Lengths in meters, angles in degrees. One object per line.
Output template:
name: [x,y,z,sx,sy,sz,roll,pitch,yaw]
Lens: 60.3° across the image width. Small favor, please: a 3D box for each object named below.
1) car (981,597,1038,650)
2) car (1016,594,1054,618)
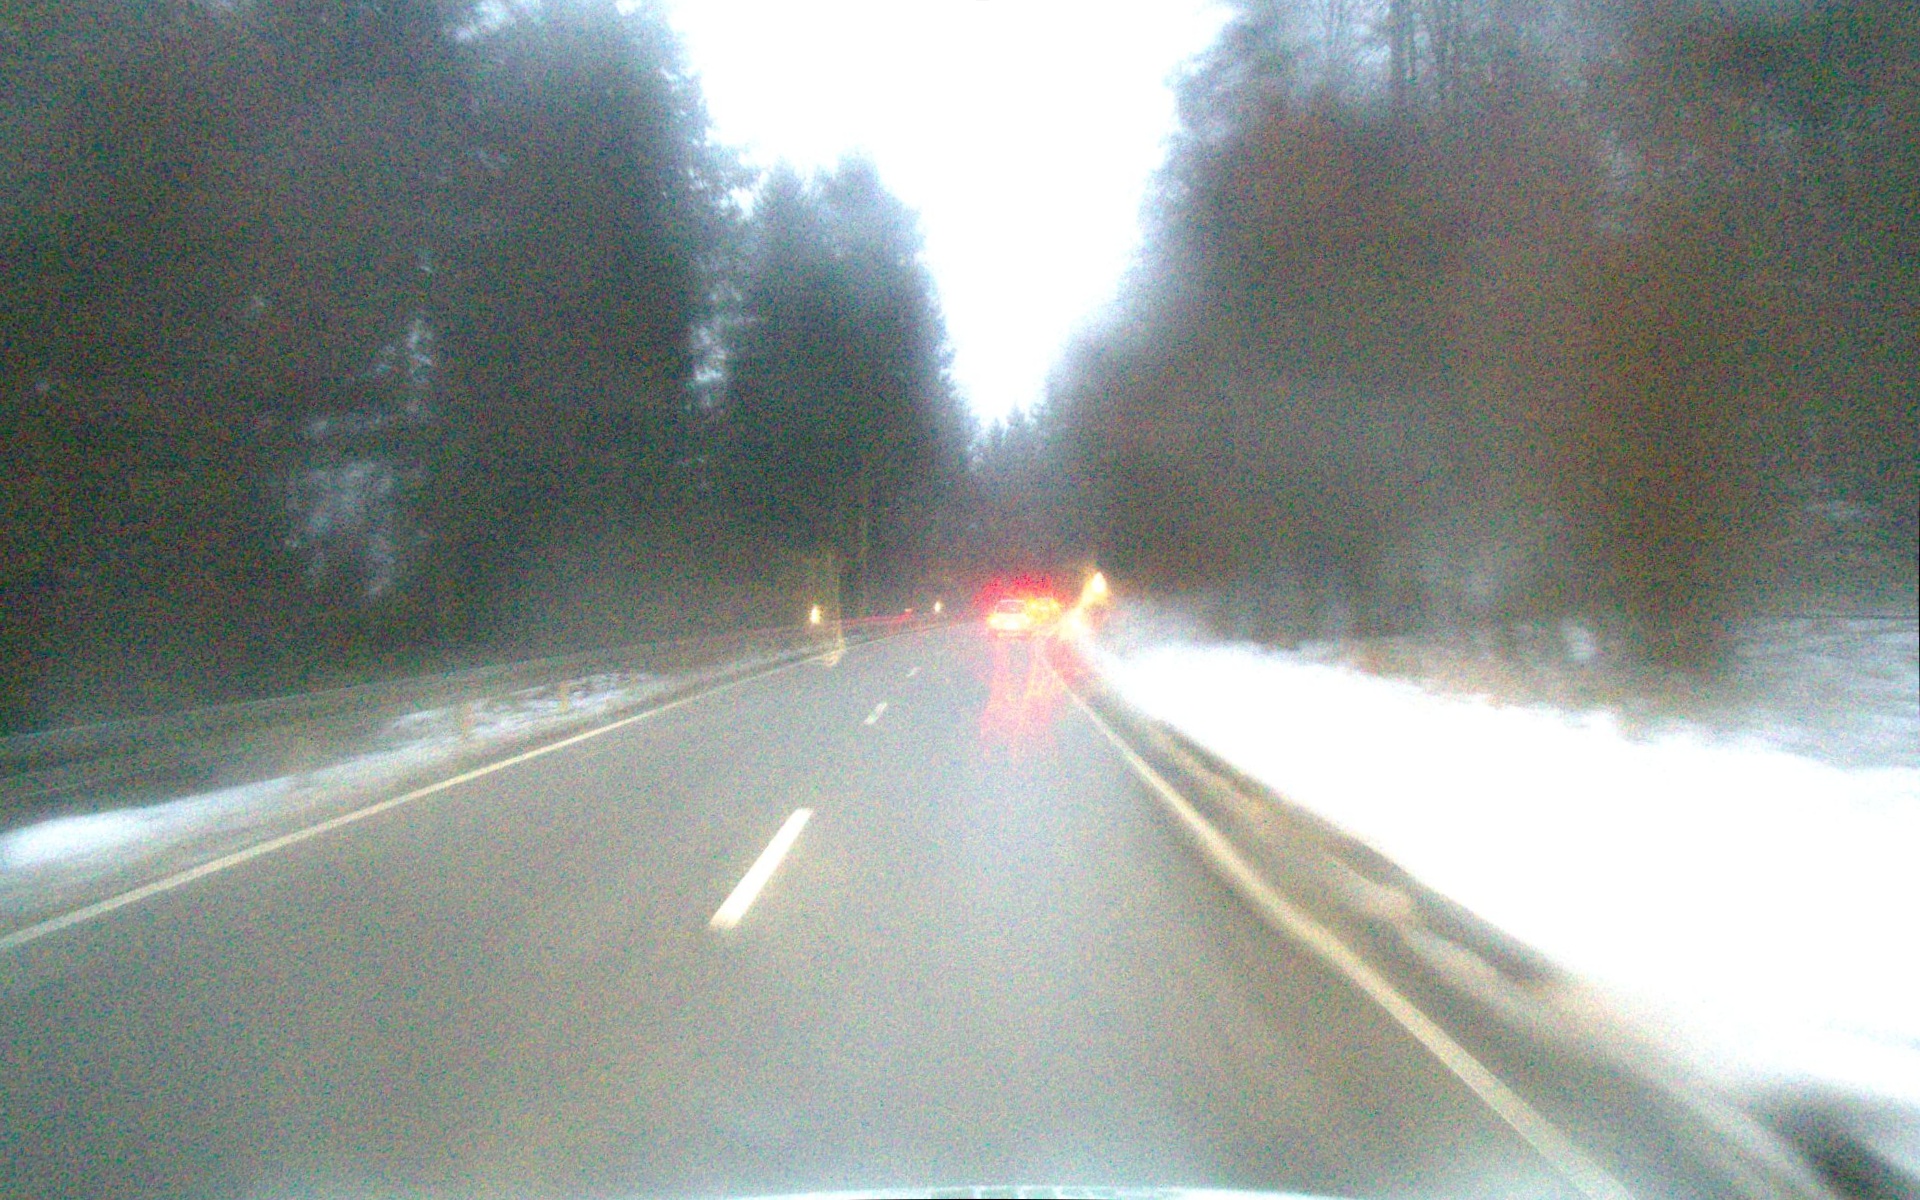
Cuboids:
car: [1.943,0.881,64.145,1.952,1.905,4.002,-3,0,4]
car: [4.558,0.380,100.970,1.954,1.333,3.998,-3,0,-3]
